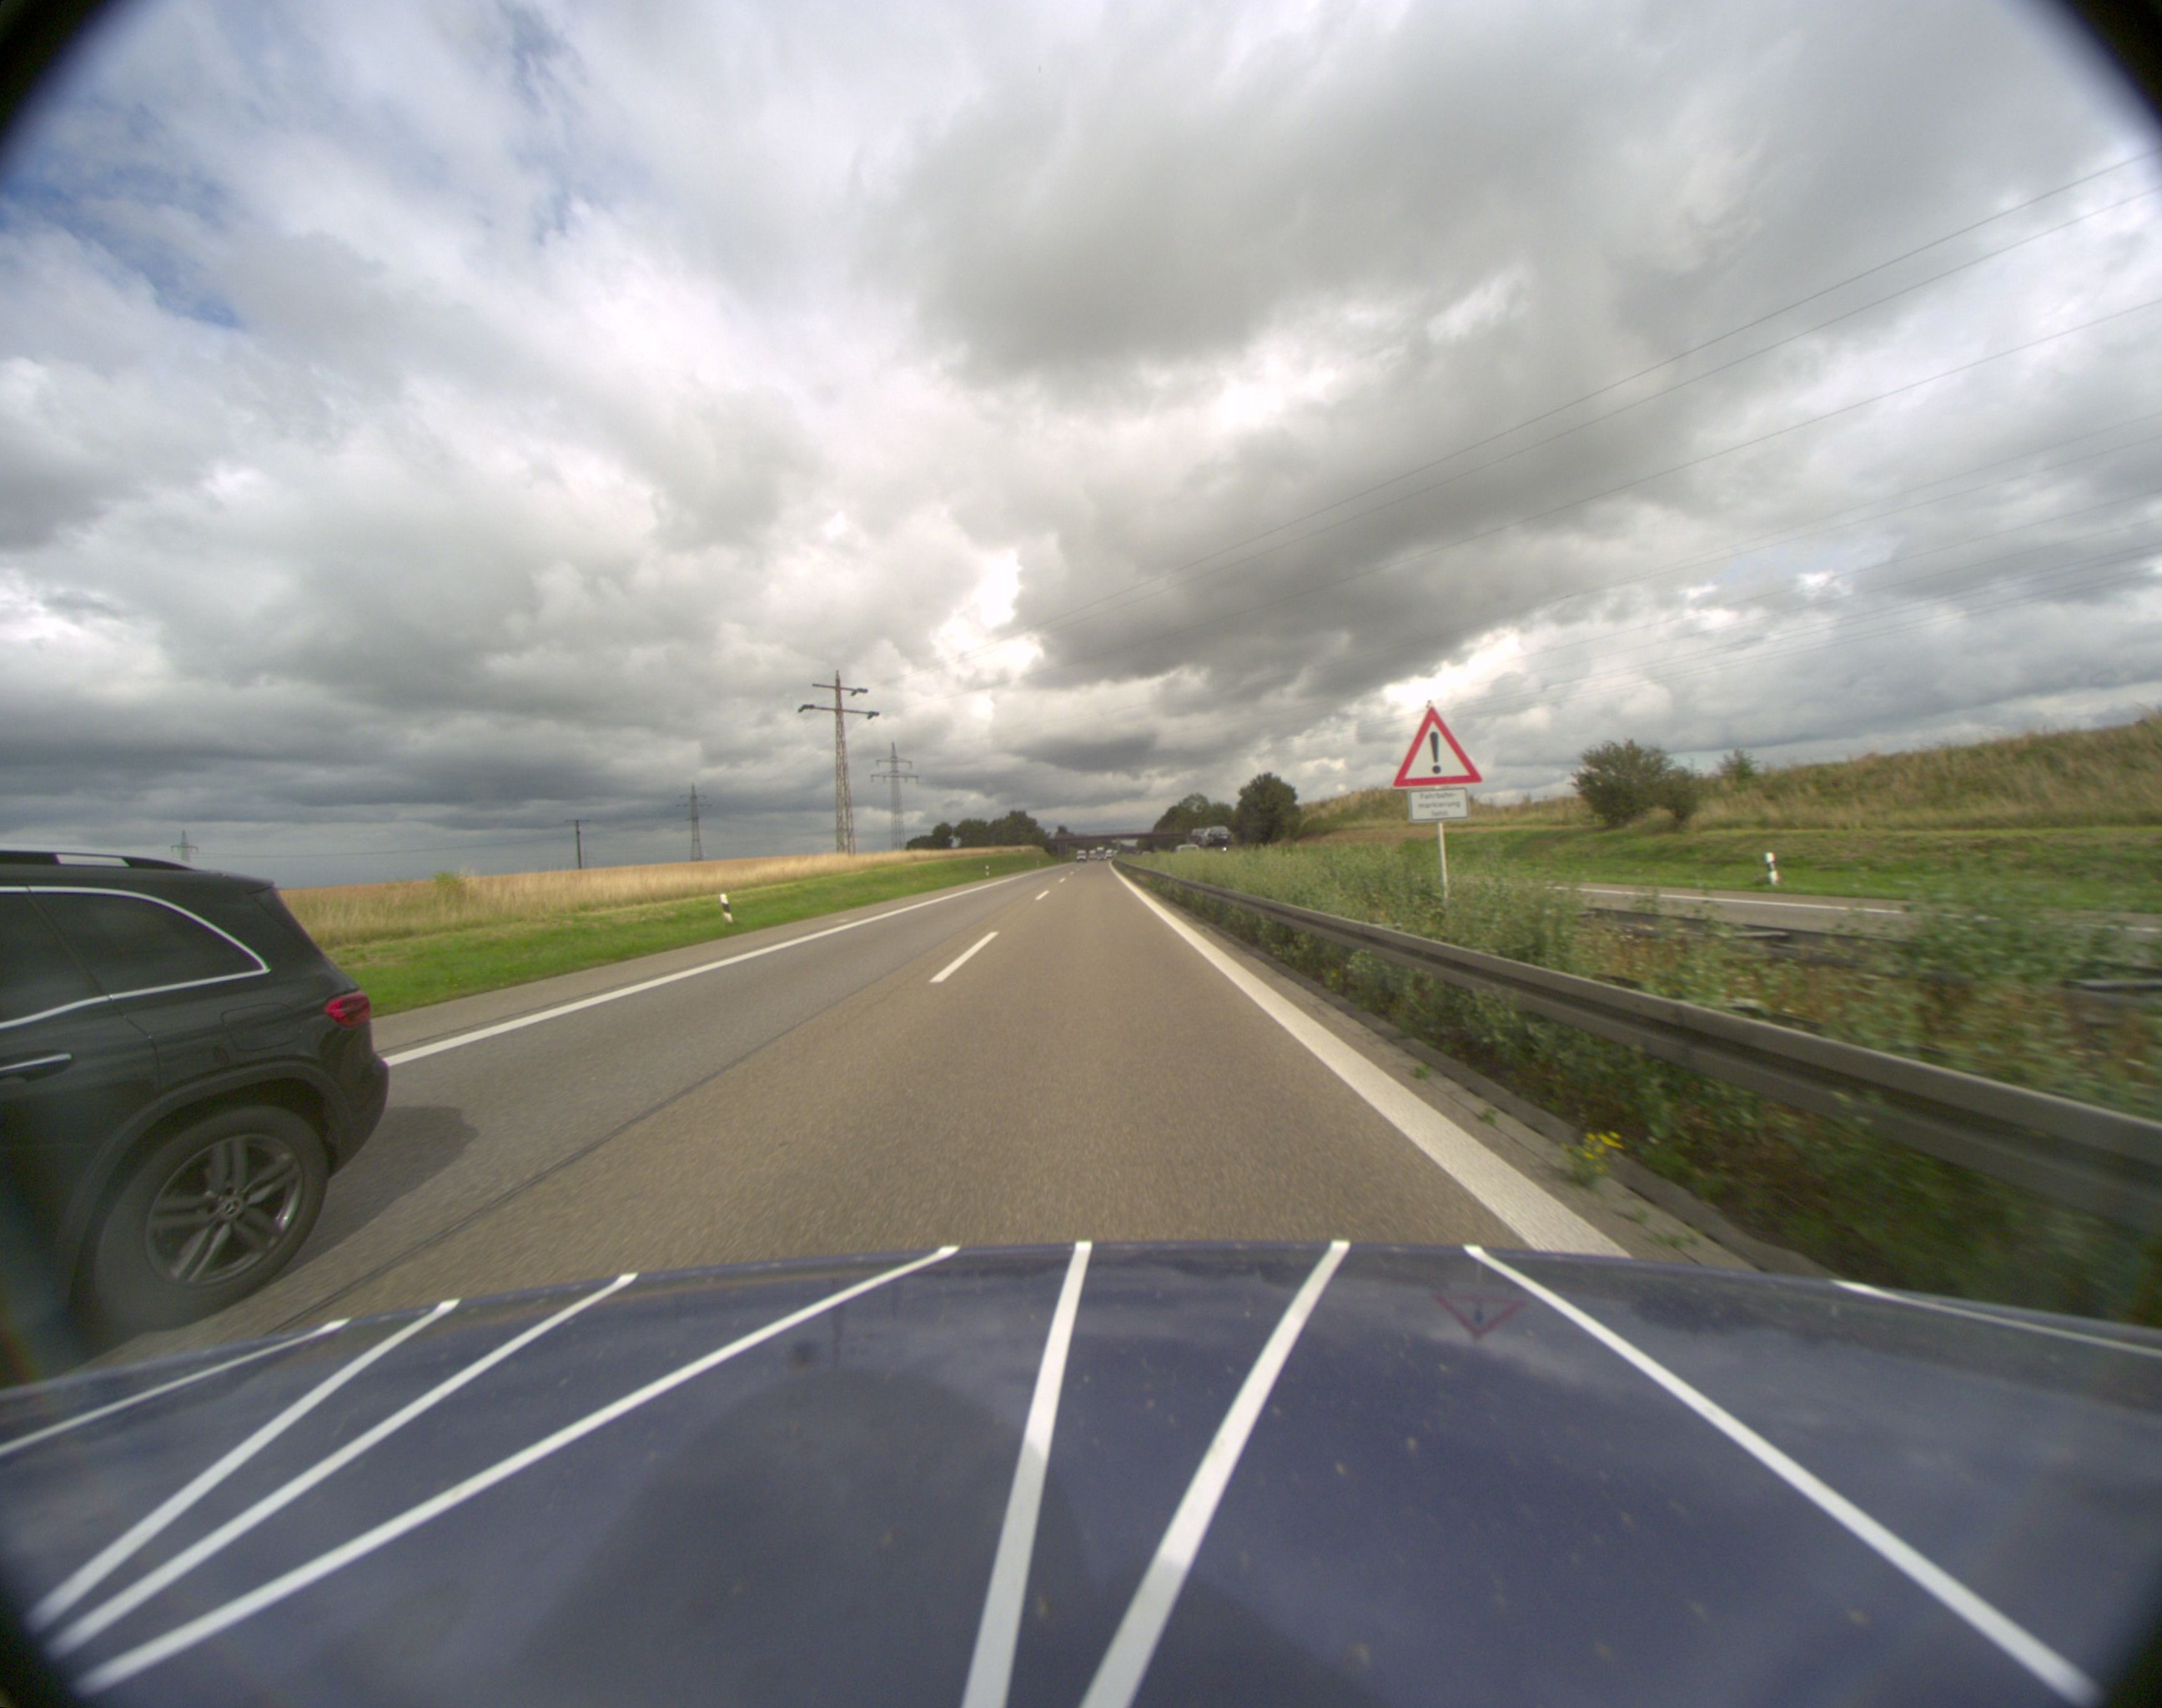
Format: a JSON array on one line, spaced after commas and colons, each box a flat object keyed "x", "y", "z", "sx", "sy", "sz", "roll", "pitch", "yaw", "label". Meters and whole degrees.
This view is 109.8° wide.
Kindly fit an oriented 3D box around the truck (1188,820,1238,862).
[{"x": 13.770, "y": -1.321, "z": 80.990, "sx": 2.729, "sy": 3.913, "sz": 17.401, "roll": -2, "pitch": 0, "yaw": 1, "label": "truck"}]

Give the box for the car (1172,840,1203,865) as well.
[{"x": 9.089, "y": -0.174, "z": 65.323, "sx": 1.998, "sy": 2.002, "sz": 5.032, "roll": -2, "pitch": 1, "yaw": 1, "label": "car"}]

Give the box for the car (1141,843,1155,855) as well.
[{"x": 10.960, "y": -0.844, "z": 124.392, "sx": 1.998, "sy": 1.674, "sz": 4.000, "roll": -5, "pitch": 1, "yaw": 3, "label": "car"}]

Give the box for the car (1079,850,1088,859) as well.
[{"x": 0.594, "y": 0.135, "z": 167.472, "sx": 1.998, "sy": 1.812, "sz": 4.342, "roll": -2, "pitch": 0, "yaw": 1, "label": "car"}]

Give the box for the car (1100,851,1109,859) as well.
[{"x": 5.783, "y": 0.222, "z": 186.495, "sx": 1.998, "sy": 1.695, "sz": 4.663, "roll": -4, "pitch": -1, "yaw": 1, "label": "car"}]

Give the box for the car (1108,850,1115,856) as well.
[{"x": 9.983, "y": -0.340, "z": 249.329, "sx": 1.998, "sy": 1.698, "sz": 3.999, "roll": -2, "pitch": 0, "yaw": 0, "label": "car"}]

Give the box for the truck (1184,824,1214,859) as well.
[{"x": 14.054, "y": -1.435, "z": 90.713, "sx": 2.730, "sy": 3.913, "sz": 5.987, "roll": -2, "pitch": 1, "yaw": 1, "label": "truck"}]

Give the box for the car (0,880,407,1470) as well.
[{"x": -3.983, "y": 0.968, "z": 1.214, "sx": 1.838, "sy": 1.600, "sz": 4.359, "roll": -2, "pitch": 1, "yaw": 0, "label": "car"}]

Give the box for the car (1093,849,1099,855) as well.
[{"x": 4.483, "y": -0.644, "z": 228.436, "sx": 1.833, "sy": 1.849, "sz": 5.790, "roll": -1, "pitch": 1, "yaw": 1, "label": "car"}]
